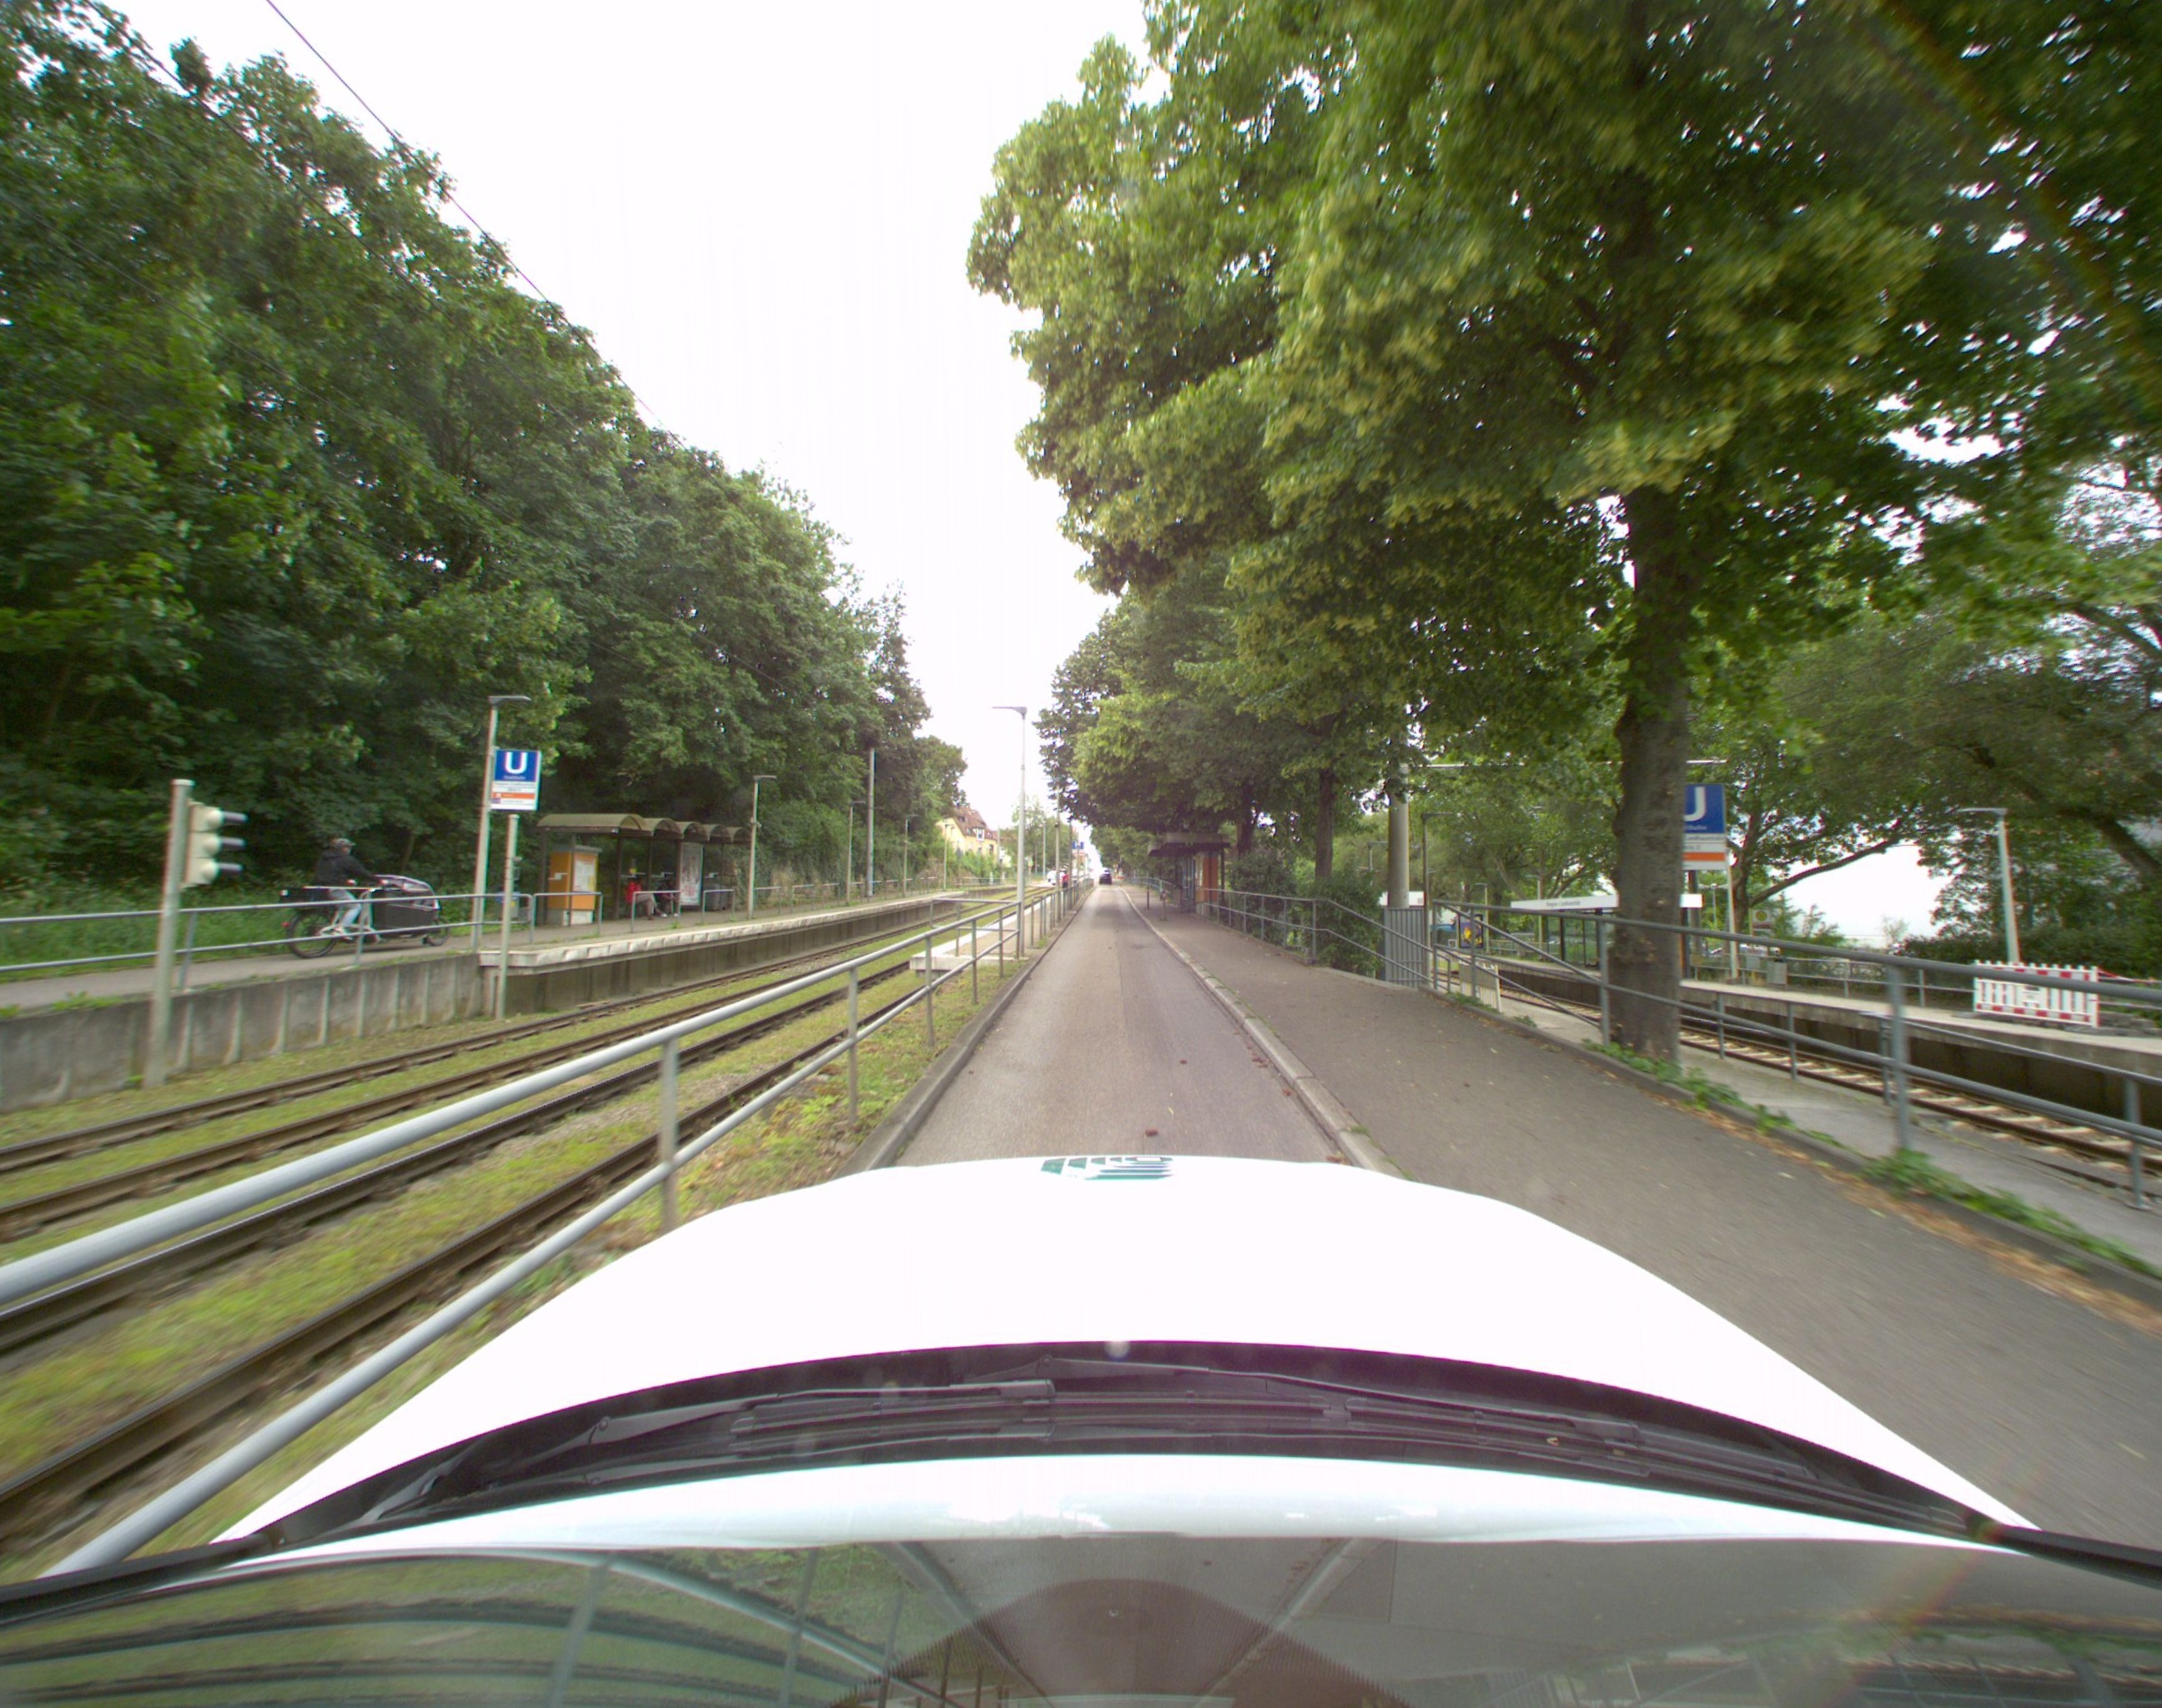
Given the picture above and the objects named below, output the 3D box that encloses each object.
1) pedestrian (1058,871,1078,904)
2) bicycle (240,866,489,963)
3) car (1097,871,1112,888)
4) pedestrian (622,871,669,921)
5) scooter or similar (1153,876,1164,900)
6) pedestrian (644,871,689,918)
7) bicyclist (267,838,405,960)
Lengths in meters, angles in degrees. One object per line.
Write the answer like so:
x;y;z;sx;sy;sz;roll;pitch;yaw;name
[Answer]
-0.570;1.475;35.945;0.739;1.409;0.747;3;0;1;pedestrian
-11.183;0.867;13.003;0.730;1.289;3.350;3;0;5;bicycle
3.450;3.749;118.913;1.986;2.146;3.999;3;-4;1;car
-12.184;1.173;22.789;0.769;1.326;0.787;3;-2;1;pedestrian
4.030;1.775;42.276;0.342;1.157;1.144;4;-4;-4;scooter or similar
-12.130;1.197;23.853;0.769;1.327;0.787;3;-4;1;pedestrian
-11.236;0.648;12.341;0.730;1.711;1.294;3;-1;4;bicyclist
